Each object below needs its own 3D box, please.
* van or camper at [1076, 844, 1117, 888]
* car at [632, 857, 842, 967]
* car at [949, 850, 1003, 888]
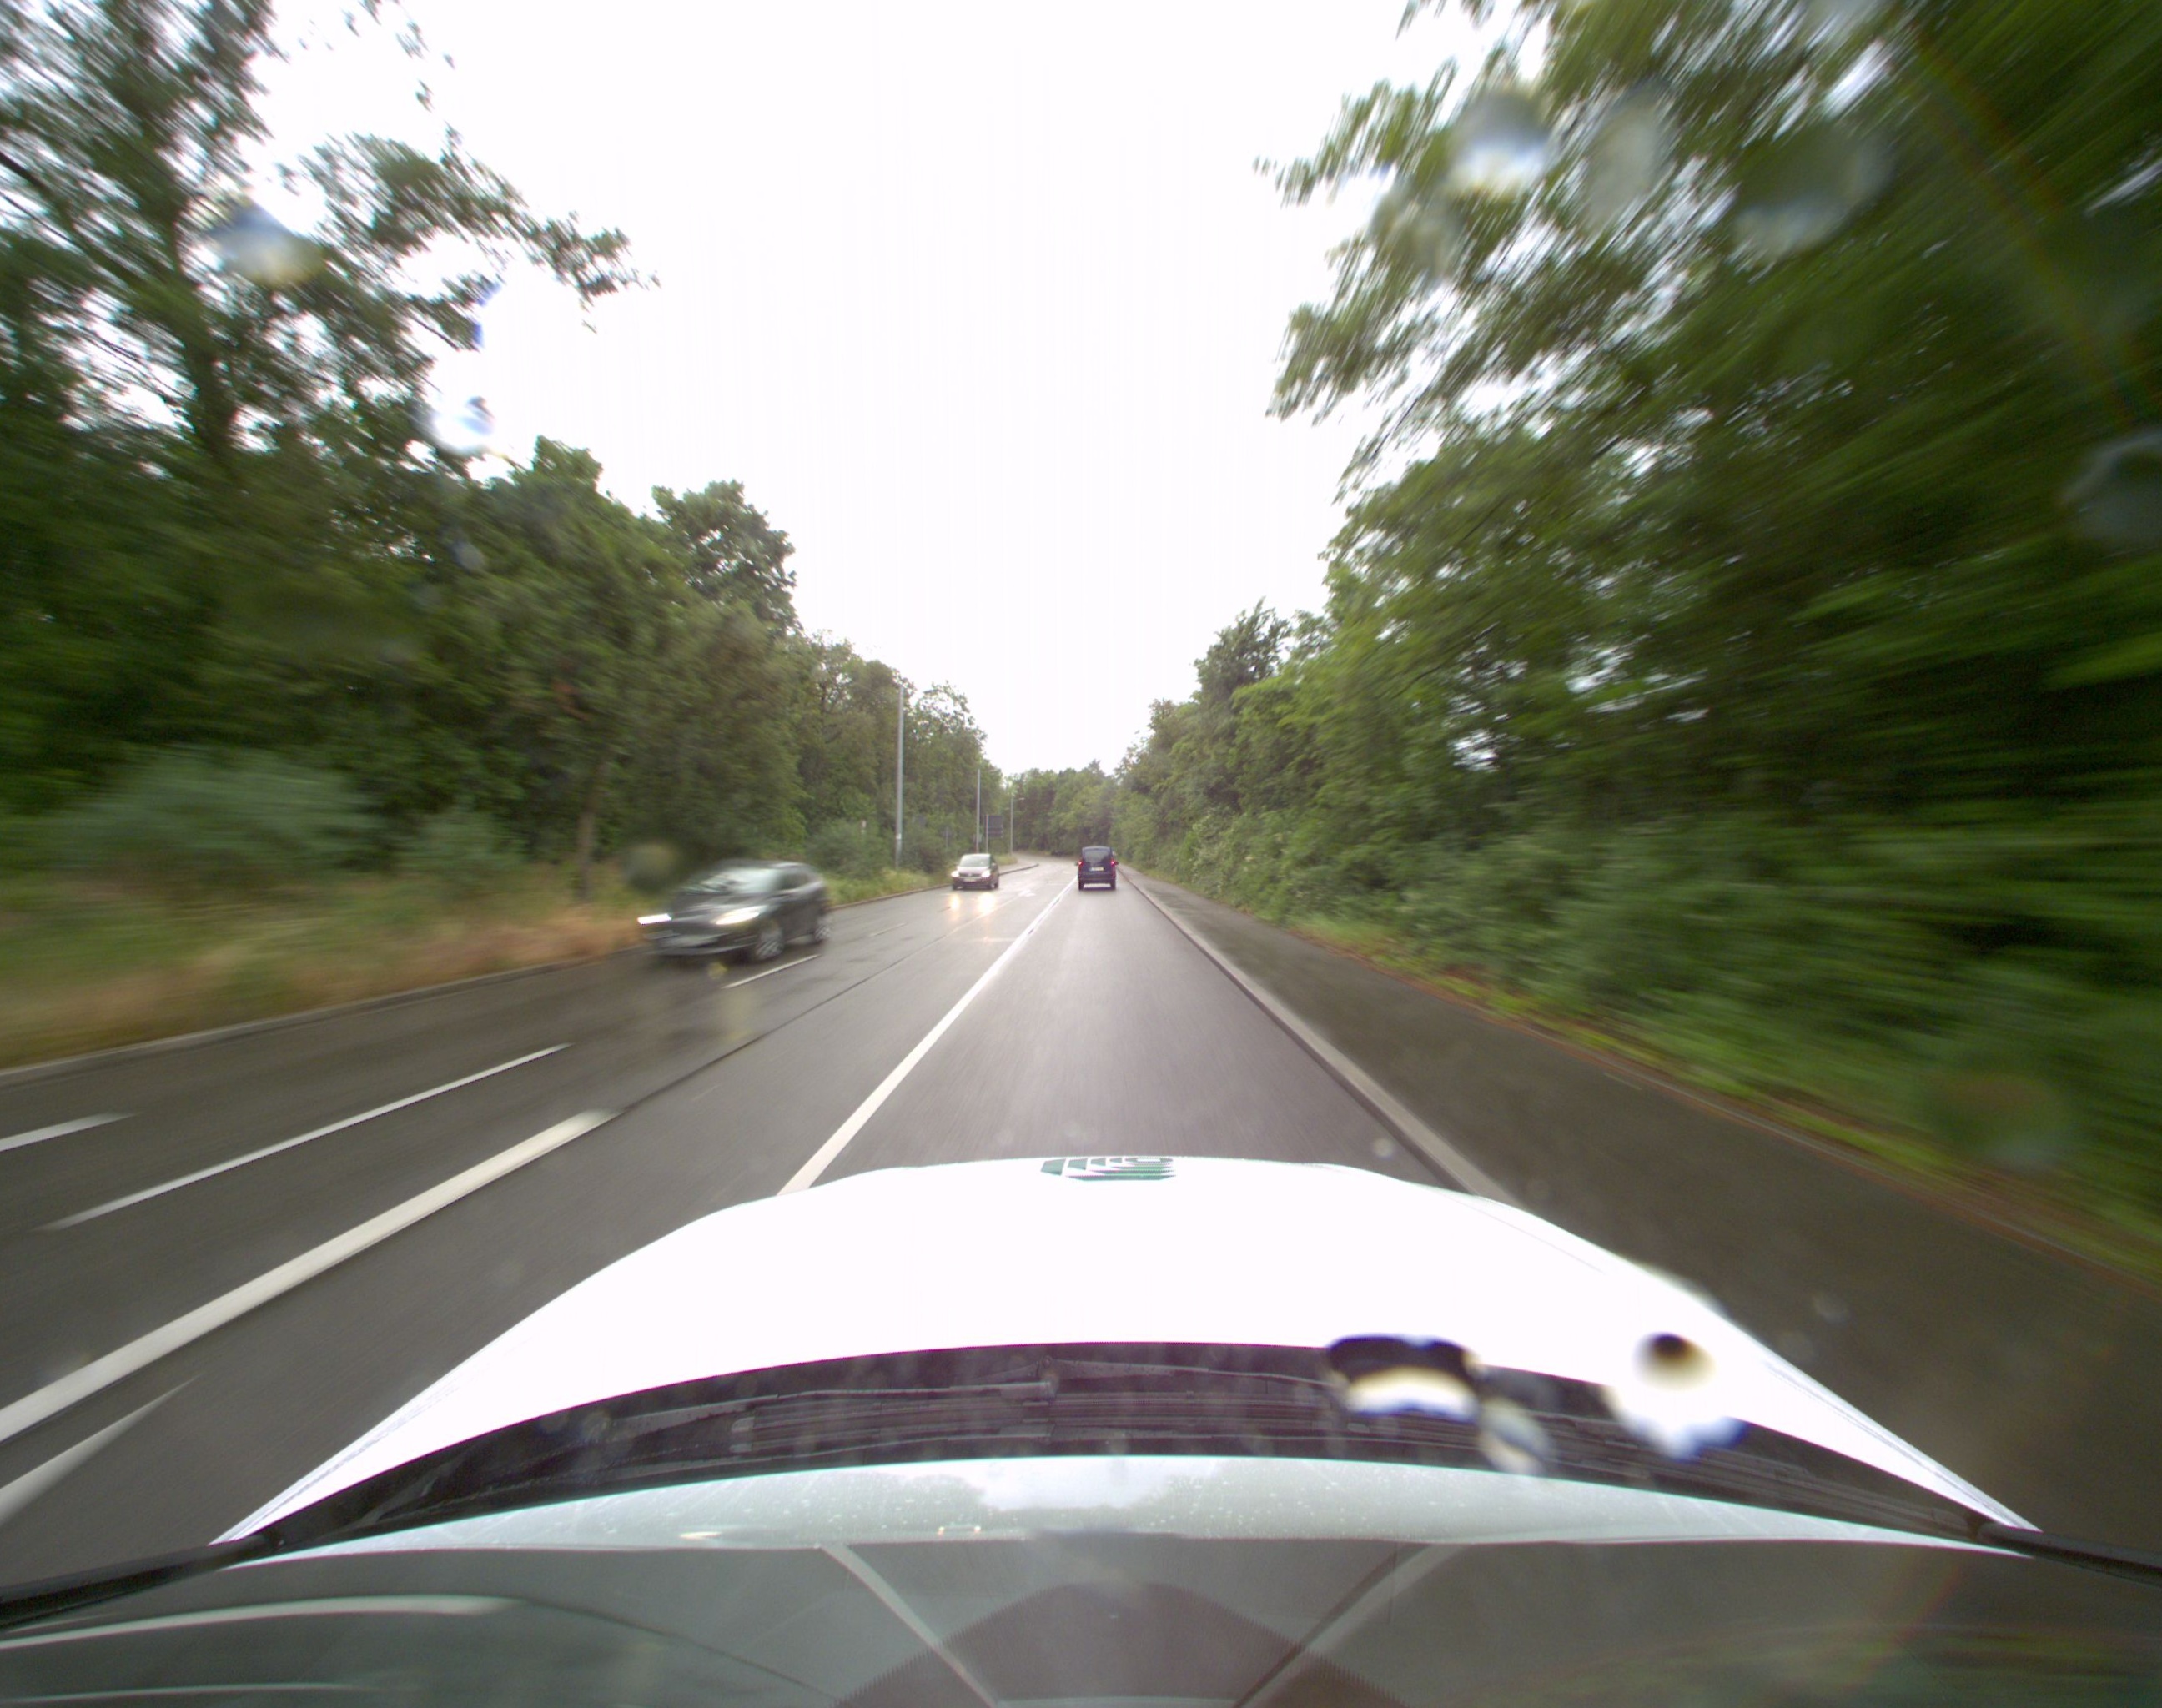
[{"bbox_3d":[0.650,0.516,36.154,1.707,1.826,3.999,0,-1,0],"label":"van or camper"},{"bbox_3d":[-5.235,0.788,13.001,1.593,1.441,3.991,-1,0,1],"label":"car"},{"bbox_3d":[-4.690,0.649,36.857,1.765,1.610,4.085,1,0,1],"label":"car"}]
